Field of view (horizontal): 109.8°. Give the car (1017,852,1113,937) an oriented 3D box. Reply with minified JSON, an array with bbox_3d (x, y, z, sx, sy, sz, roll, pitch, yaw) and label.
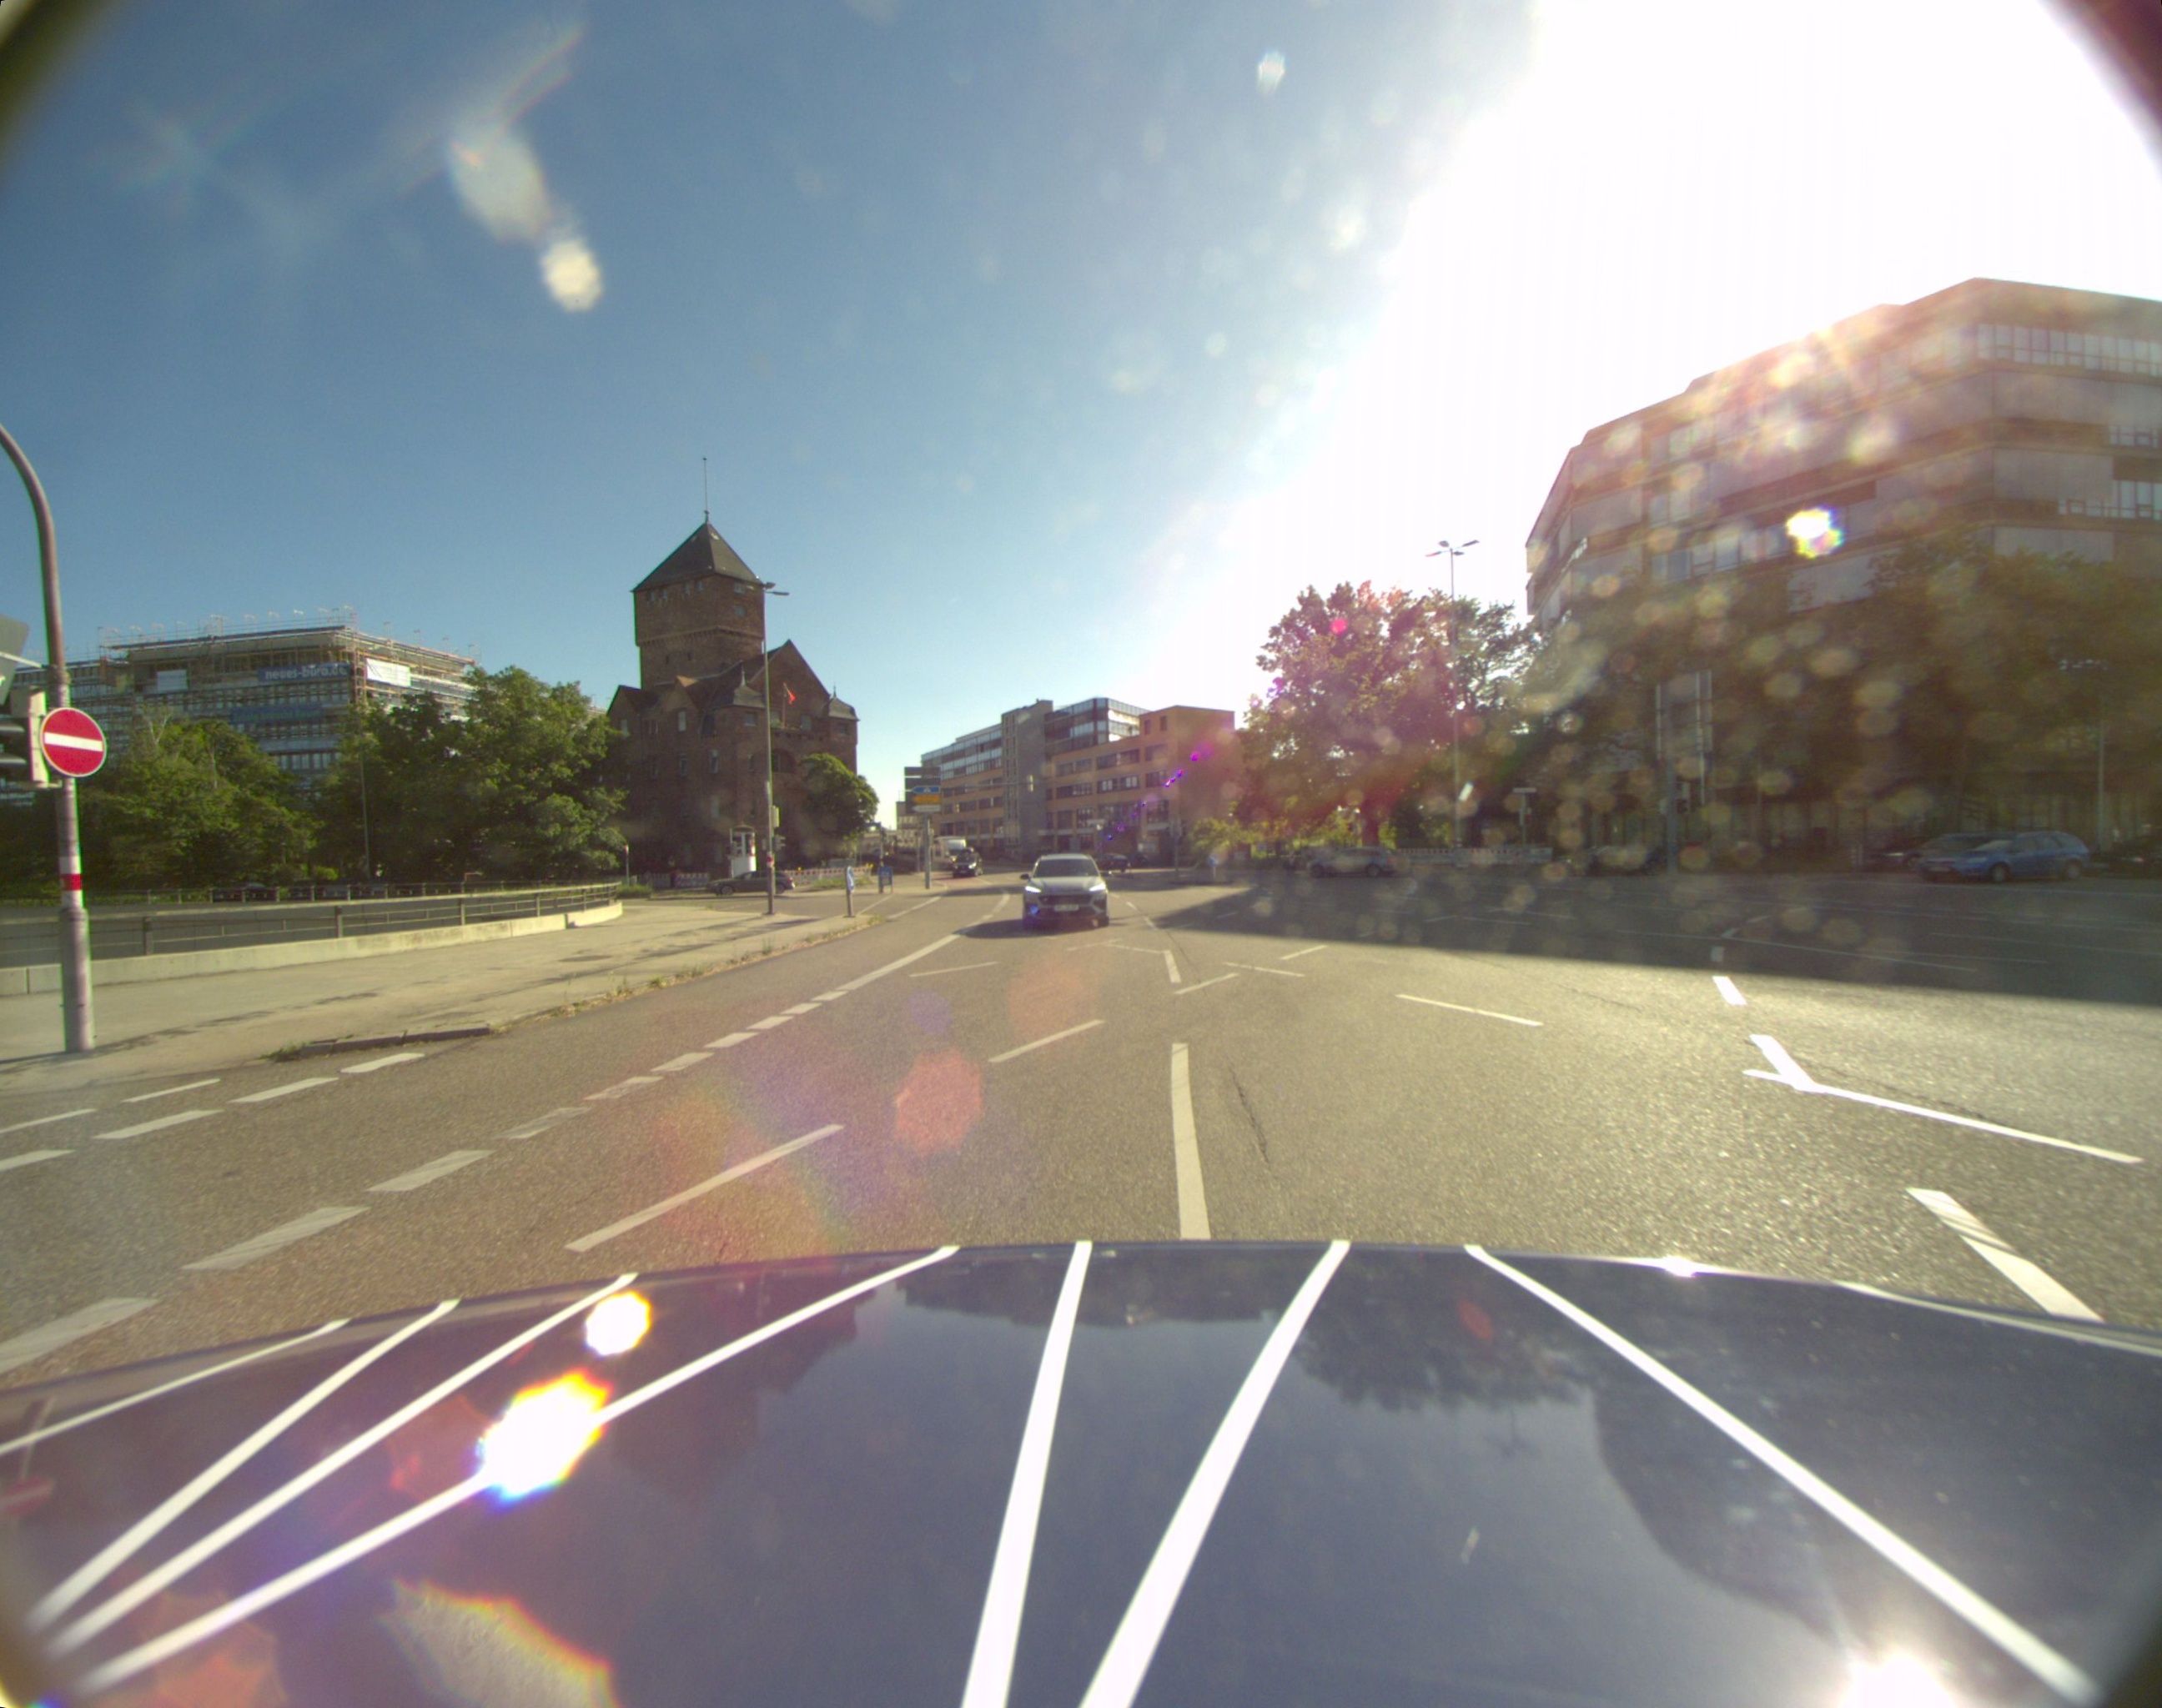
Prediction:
[{"bbox_3d":[-0.328,0.805,17.373,1.879,1.612,4.195,-2,1,0],"label":"car"}]

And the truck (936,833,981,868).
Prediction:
[{"bbox_3d":[-11.945,-0.307,73.550,2.507,3.110,6.945,-2,1,-24],"label":"truck"}]

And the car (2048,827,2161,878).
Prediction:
[{"bbox_3d":[34.721,-0.093,24.686,4.456,1.532,1.950,-2,1,-4],"label":"car"}]

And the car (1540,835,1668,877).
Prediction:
[{"bbox_3d":[22.732,0.079,33.158,4.190,1.690,1.816,-2,1,8],"label":"car"}]

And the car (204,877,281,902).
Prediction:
[{"bbox_3d":[-57.008,2.375,51.762,2.002,1.445,3.775,-2,1,-21],"label":"car"}]

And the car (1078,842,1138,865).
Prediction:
[{"bbox_3d":[1.974,0.009,57.583,1.955,1.612,4.772,-2,1,-36],"label":"car"}]

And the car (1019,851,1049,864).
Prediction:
[{"bbox_3d":[-5.670,0.445,91.351,1.641,1.515,4.150,-2,1,-35],"label":"car"}]

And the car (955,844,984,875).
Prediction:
[{"bbox_3d":[-8.618,0.392,59.230,1.951,2.248,4.782,-2,1,-6],"label":"car"}]

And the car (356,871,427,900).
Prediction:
[{"bbox_3d":[-43.086,1.940,47.577,2.002,1.552,3.775,-2,1,-21],"label":"car"}]

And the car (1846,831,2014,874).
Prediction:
[{"bbox_3d":[35.164,-0.063,31.588,4.503,1.635,1.881,-2,1,8],"label":"car"}]

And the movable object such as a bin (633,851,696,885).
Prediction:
[{"bbox_3d":[-31.448,1.052,57.369,3.990,2.395,2.003,-2,1,24],"label":"movable object such as a bin"}]

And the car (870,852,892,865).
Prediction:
[{"bbox_3d":[-26.694,0.594,101.317,1.760,1.749,4.775,-2,1,-26],"label":"car"}]

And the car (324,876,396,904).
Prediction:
[{"bbox_3d":[-45.880,2.237,48.478,2.002,1.552,3.775,-2,1,-21],"label":"car"}]

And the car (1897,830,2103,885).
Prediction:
[{"bbox_3d":[28.955,0.101,24.024,4.456,1.532,1.950,-2,1,-4],"label":"car"}]

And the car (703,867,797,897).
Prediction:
[{"bbox_3d":[-19.077,1.601,43.902,4.644,1.462,1.875,-2,0,-37],"label":"car"}]

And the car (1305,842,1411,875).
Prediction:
[{"bbox_3d":[13.615,0.257,37.522,4.497,1.349,1.885,-4,-4,41],"label":"car"}]

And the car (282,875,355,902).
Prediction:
[{"bbox_3d":[-49.707,2.218,49.633,2.002,1.552,3.775,-2,1,-21],"label":"car"}]

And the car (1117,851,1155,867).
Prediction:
[{"bbox_3d":[5.318,0.533,74.314,1.662,1.500,4.370,0,-1,-28],"label":"car"}]

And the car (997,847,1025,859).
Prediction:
[{"bbox_3d":[-9.084,-0.093,98.401,1.883,1.515,4.150,-2,1,-33],"label":"car"}]
